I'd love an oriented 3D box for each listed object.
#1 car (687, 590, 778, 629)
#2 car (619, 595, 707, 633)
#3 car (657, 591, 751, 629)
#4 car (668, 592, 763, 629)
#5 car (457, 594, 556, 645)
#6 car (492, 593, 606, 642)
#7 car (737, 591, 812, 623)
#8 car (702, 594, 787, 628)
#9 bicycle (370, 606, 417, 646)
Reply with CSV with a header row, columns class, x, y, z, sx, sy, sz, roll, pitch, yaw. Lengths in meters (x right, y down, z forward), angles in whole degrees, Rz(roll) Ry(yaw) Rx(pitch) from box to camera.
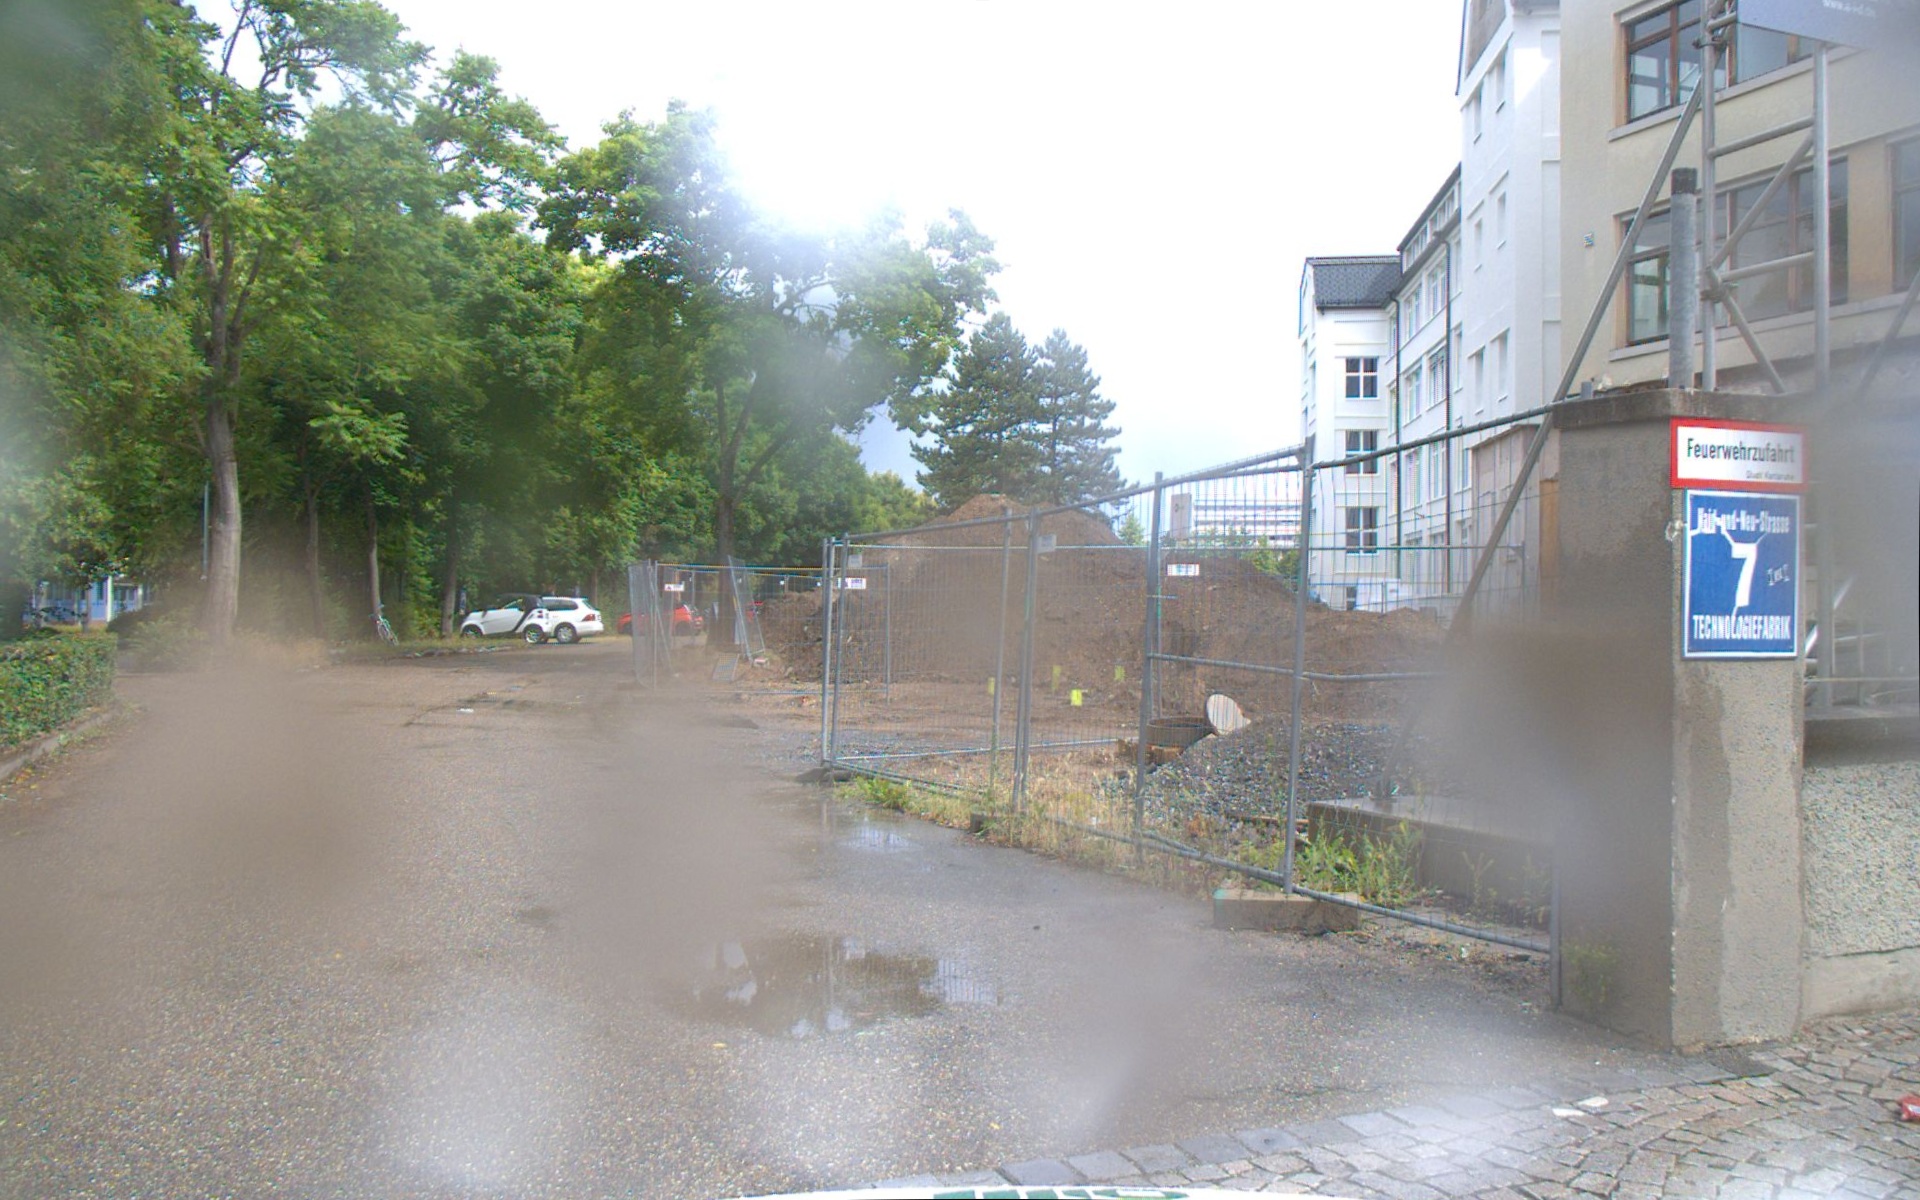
class,x,y,z,sx,sy,sz,roll,pitch,yaw
car,-10.785,0.451,78.585,4.023,1.679,1.847,2,1,0
car,-12.270,0.580,68.401,3.214,1.450,1.594,2,1,8
car,-11.296,0.430,73.024,3.713,1.555,1.911,2,1,6
car,-11.105,0.445,75.221,3.903,1.522,1.995,2,1,5
car,-13.931,0.590,50.921,2.701,1.510,1.591,0,1,-7
car,-13.222,0.555,53.311,3.367,1.494,1.738,0,1,-7
car,-9.991,0.374,89.300,3.777,1.600,1.959,2,1,1
car,-10.568,0.529,81.250,3.861,1.543,1.806,2,1,1
bicycle,-13.334,0.603,38.973,0.465,0.875,1.457,2,1,6
